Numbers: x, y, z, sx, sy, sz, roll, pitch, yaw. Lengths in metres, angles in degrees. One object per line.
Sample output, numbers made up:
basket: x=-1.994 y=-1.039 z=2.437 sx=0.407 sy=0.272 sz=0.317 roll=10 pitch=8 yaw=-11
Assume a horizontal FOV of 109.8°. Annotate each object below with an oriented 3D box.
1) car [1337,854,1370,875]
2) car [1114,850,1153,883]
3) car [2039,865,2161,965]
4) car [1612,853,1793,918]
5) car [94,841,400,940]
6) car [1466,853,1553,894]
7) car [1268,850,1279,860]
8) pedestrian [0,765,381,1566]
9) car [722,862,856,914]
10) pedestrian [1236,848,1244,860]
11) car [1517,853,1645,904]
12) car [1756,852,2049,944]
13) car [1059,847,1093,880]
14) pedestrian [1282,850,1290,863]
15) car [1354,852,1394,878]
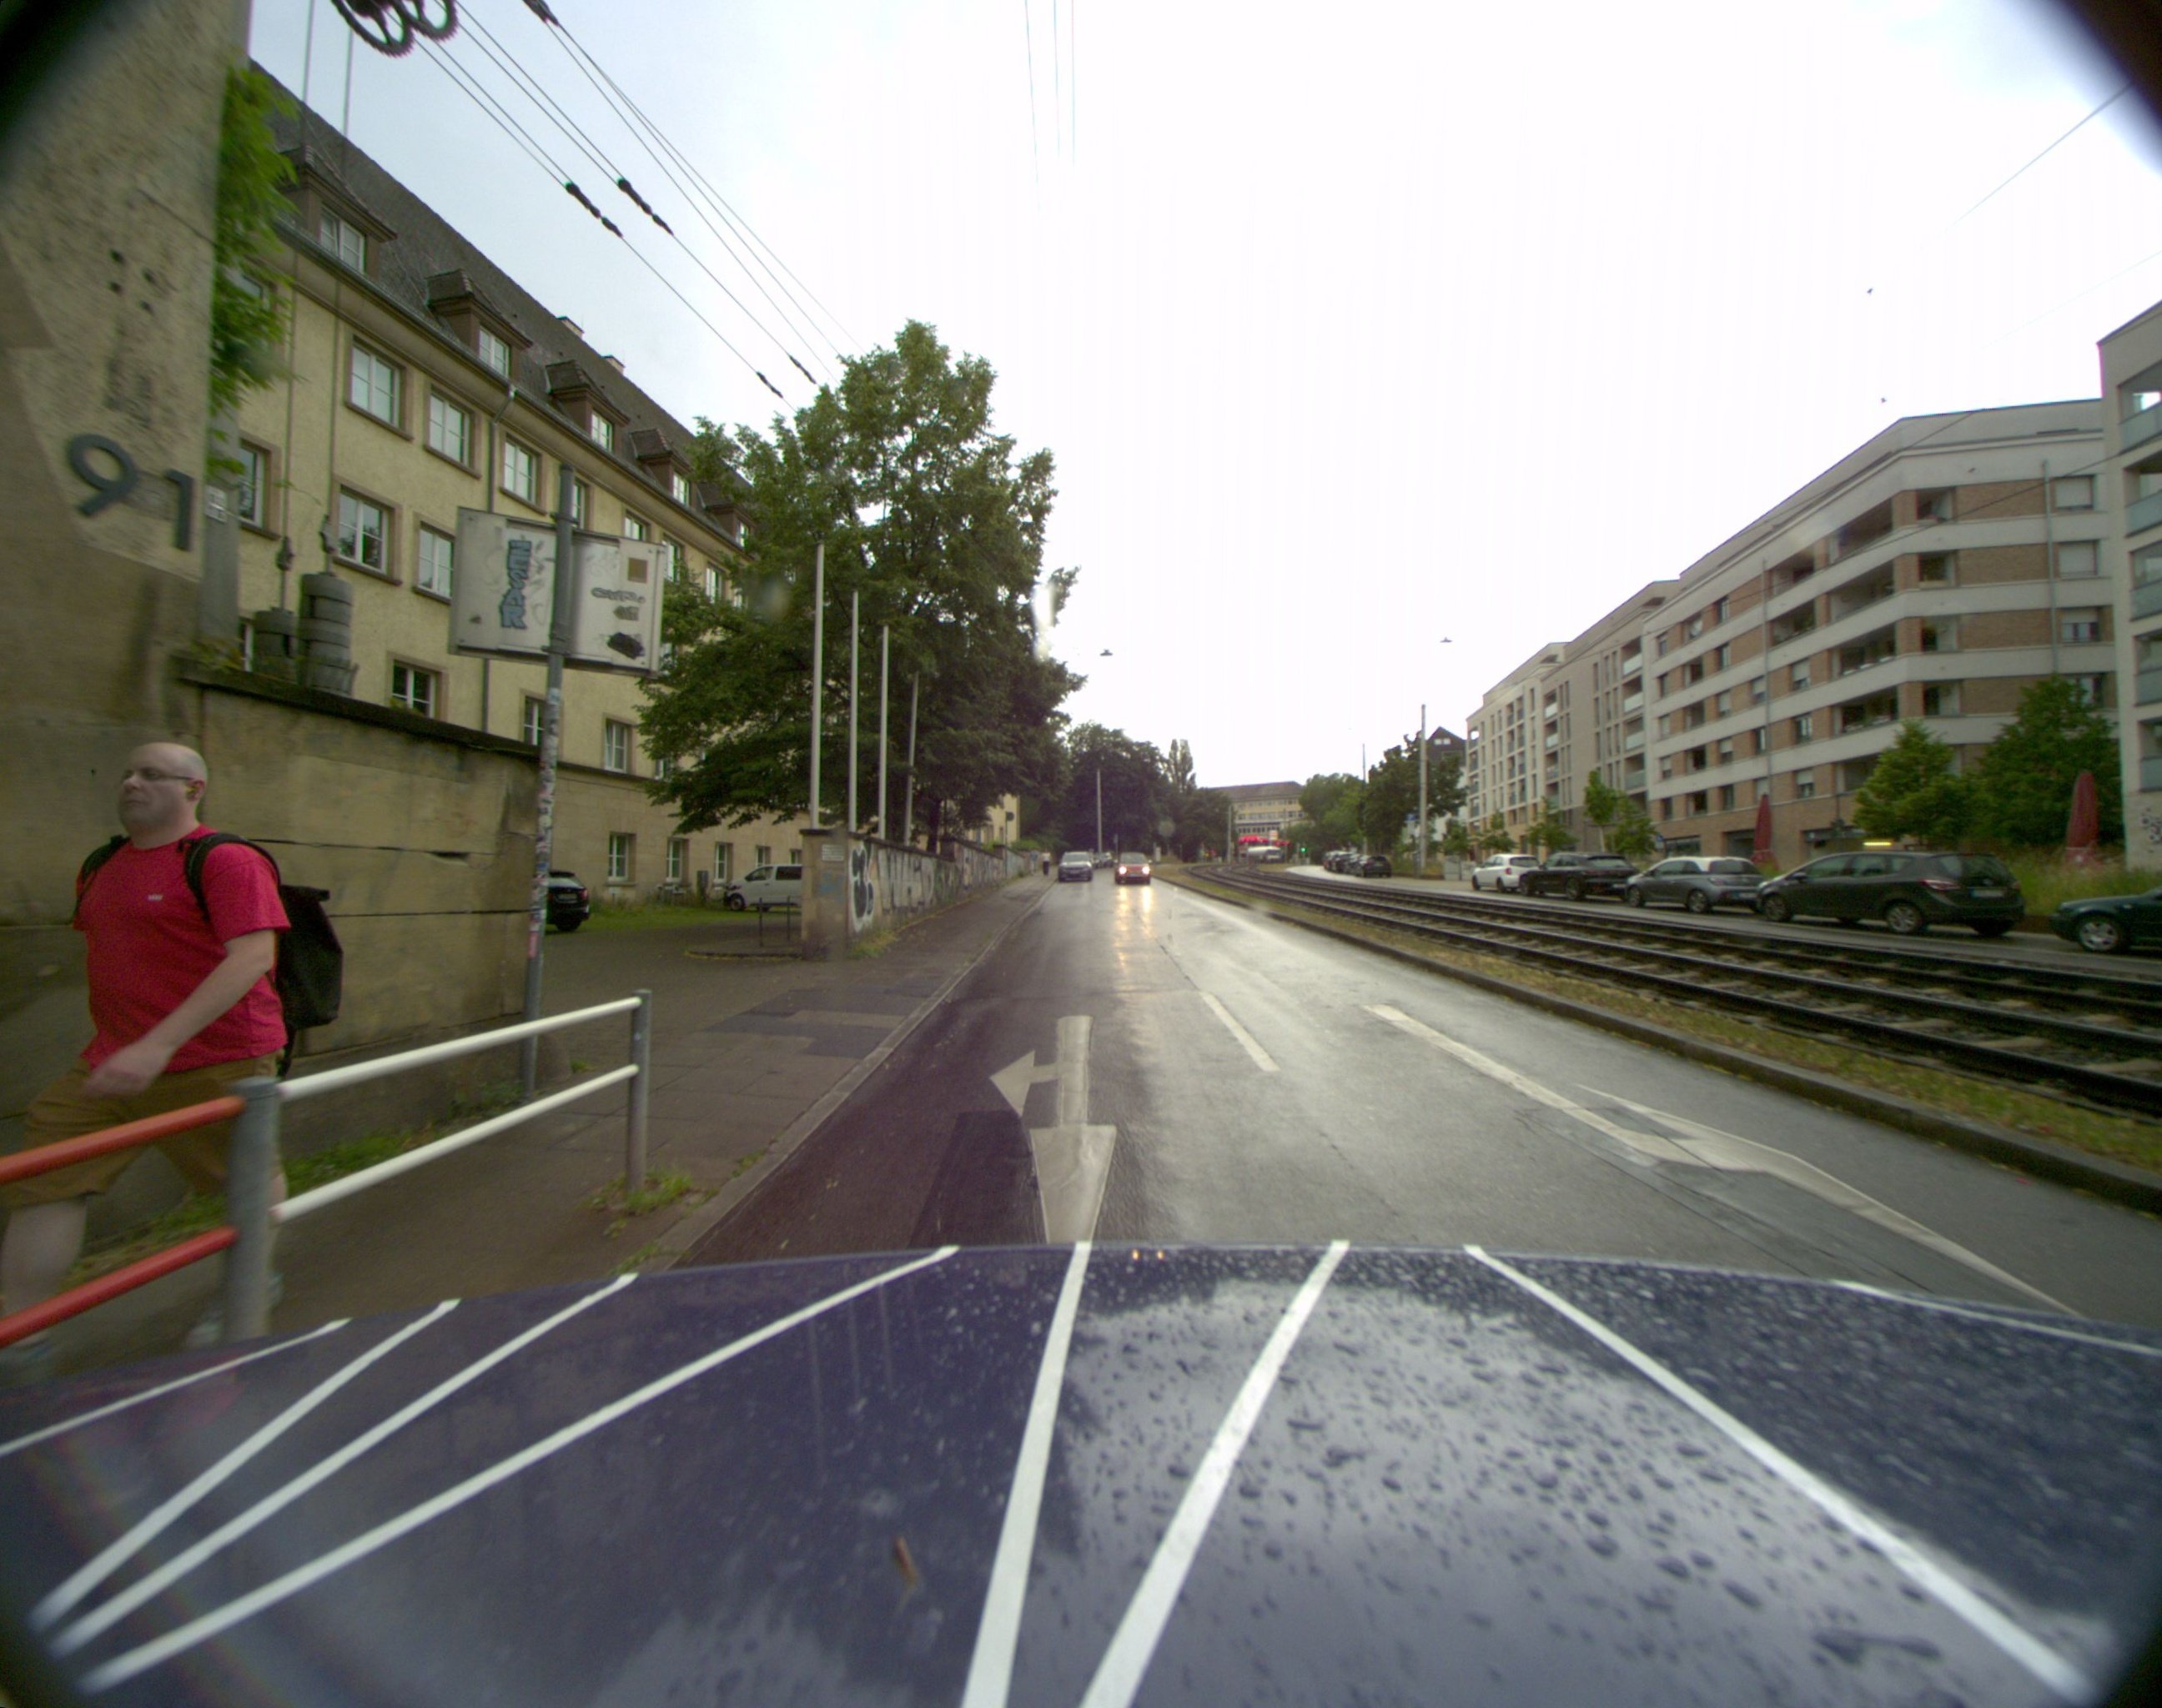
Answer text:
car: x=20.485 y=0.769 z=57.317 sx=1.653 sy=1.455 sz=3.672 roll=-2 pitch=1 yaw=9
car: x=2.571 y=0.580 z=37.768 sx=1.594 sy=1.455 sz=3.669 roll=-3 pitch=1 yaw=0
car: x=16.381 y=0.901 z=10.303 sx=1.684 sy=1.373 sz=4.032 roll=-1 pitch=1 yaw=0
car: x=16.564 y=0.774 z=20.533 sx=1.684 sy=1.496 sz=3.928 roll=-1 pitch=1 yaw=0
car: x=-14.292 y=0.596 z=13.109 sx=3.910 sy=1.461 sz=1.613 roll=-2 pitch=1 yaw=9
car: x=17.048 y=0.732 z=30.403 sx=1.649 sy=1.496 sz=3.782 roll=-1 pitch=1 yaw=6
car: x=33.706 y=0.172 z=133.068 sx=1.666 sy=1.597 sz=3.812 roll=-2 pitch=1 yaw=16
pedestrian: x=-2.675 y=0.671 z=2.061 sx=0.748 sy=1.754 sz=0.818 roll=2 pitch=1 yaw=0
car: x=-11.363 y=1.304 z=29.703 sx=4.526 sy=1.769 sz=1.824 roll=-2 pitch=1 yaw=12
pedestrian: x=23.804 y=-0.032 z=113.848 sx=0.816 sy=1.754 sz=0.751 roll=3 pitch=1 yaw=40
car: x=16.590 y=0.751 z=25.506 sx=1.683 sy=1.496 sz=4.406 roll=-1 pitch=1 yaw=5
car: x=16.254 y=0.773 z=15.383 sx=1.684 sy=1.554 sz=3.928 roll=-1 pitch=1 yaw=0
car: x=-0.264 y=0.477 z=41.736 sx=1.726 sy=1.676 sz=3.865 roll=-3 pitch=1 yaw=0
pedestrian: x=29.458 y=0.339 z=109.206 sx=0.816 sy=1.754 sz=0.750 roll=2 pitch=1 yaw=24
car: x=19.012 y=0.684 z=49.479 sx=1.653 sy=1.455 sz=3.672 roll=-2 pitch=1 yaw=9
